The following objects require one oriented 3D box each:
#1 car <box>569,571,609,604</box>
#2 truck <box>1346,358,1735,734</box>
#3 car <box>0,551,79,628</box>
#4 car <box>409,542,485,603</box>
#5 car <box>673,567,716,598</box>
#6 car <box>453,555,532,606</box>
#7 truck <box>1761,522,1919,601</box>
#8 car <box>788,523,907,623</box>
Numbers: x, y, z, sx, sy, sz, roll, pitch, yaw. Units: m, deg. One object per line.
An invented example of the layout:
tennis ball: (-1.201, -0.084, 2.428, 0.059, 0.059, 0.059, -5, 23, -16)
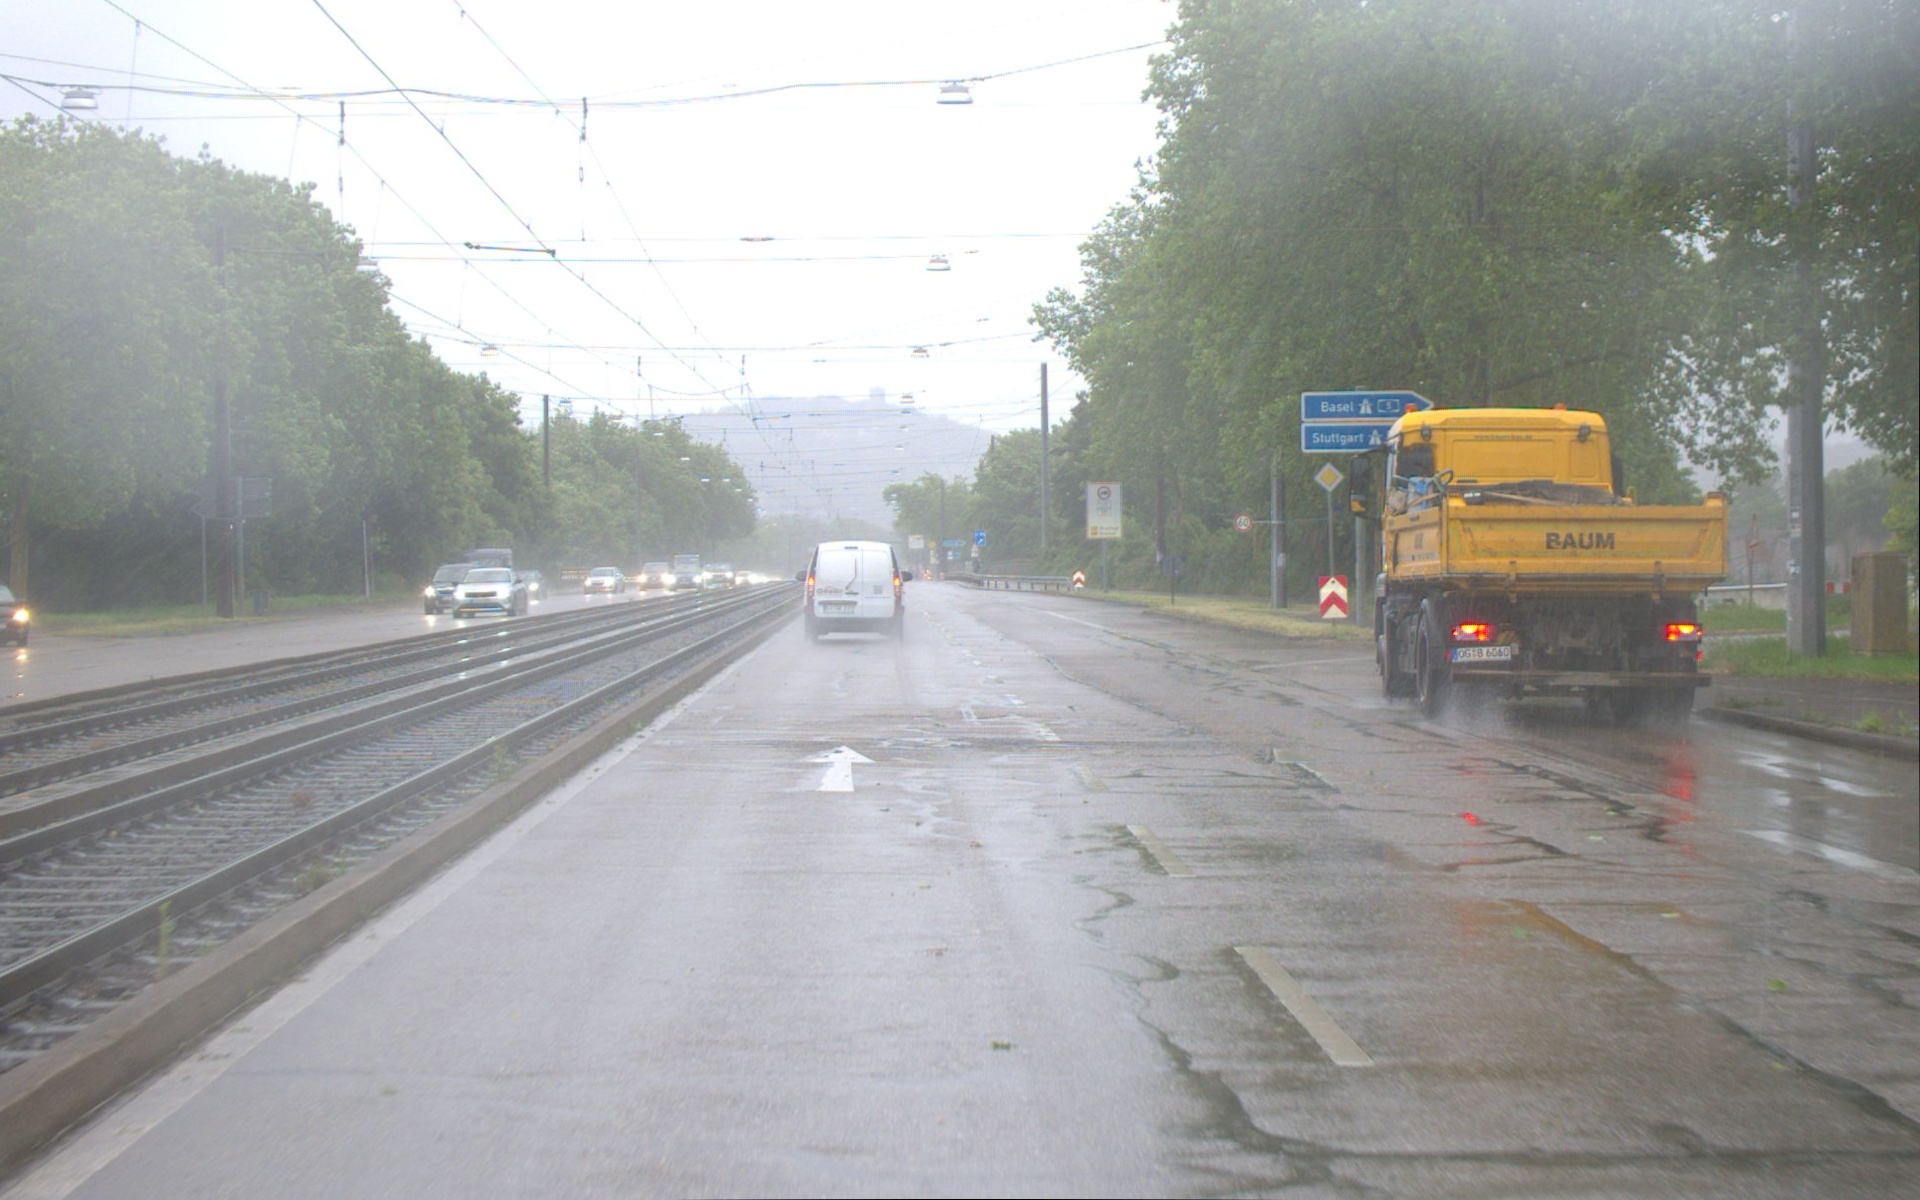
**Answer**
car: (-20.556, -0.718, 190.591, 1.819, 1.700, 5.021, 1, 2, -1)
truck: (5.447, -0.570, 33.461, 2.555, 3.246, 6.933, 1, 2, 0)
car: (-20.442, -0.254, 74.672, 1.689, 1.546, 4.001, 1, 2, -2)
car: (-16.278, -0.884, 109.291, 1.887, 1.803, 5.005, 1, 2, -3)
car: (-14.761, -0.993, 191.427, 1.790, 1.544, 5.313, 1, 2, 2)
car: (-13.574, -0.574, 100.100, 1.741, 1.349, 4.546, 1, 2, -1)
truck: (55.298, -2.399, 199.672, 16.748, 4.144, 3.286, -3, 0, 30)
car: (-1.979, -0.513, 61.508, 1.989, 1.678, 3.740, 1, 2, 0)
